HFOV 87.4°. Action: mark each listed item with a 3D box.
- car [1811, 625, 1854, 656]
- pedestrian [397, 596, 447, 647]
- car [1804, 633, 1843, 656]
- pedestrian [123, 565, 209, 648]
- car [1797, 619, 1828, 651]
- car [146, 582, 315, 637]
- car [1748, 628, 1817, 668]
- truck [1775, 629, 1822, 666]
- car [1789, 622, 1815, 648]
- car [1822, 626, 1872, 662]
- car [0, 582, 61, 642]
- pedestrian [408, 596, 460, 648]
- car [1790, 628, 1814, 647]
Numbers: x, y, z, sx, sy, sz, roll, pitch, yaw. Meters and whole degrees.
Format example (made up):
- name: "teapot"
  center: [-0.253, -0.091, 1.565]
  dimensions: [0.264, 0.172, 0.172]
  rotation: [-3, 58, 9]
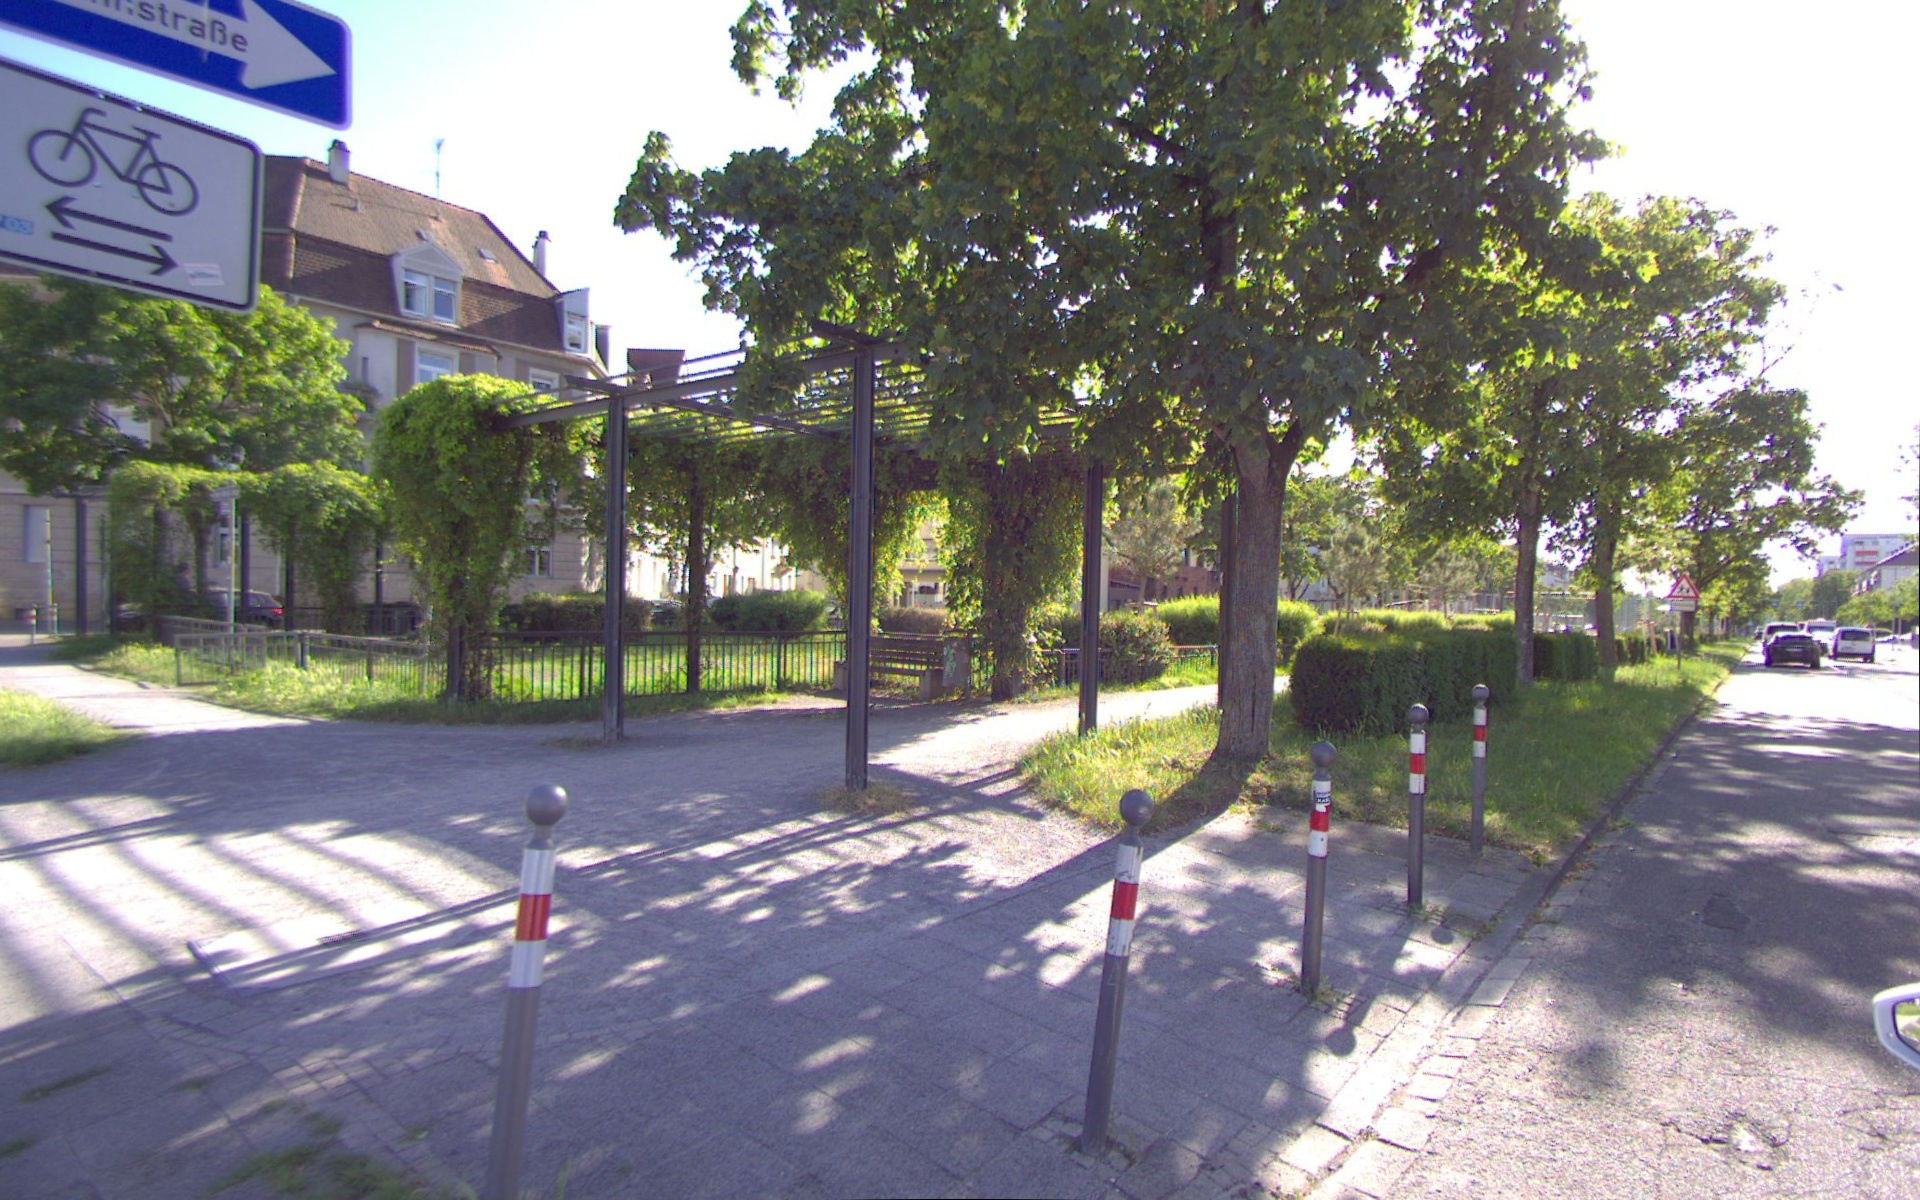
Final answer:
- name: "car"
  center: [55.350, 2.547, 63.781]
  dimensions: [1.795, 1.855, 3.983]
  rotation: [2, 0, 38]
- name: "pedestrian"
  center: [-12.528, 0.500, 23.397]
  dimensions: [0.590, 1.165, 0.842]
  rotation: [1, 0, 39]
- name: "car"
  center: [58.851, 2.987, 68.493]
  dimensions: [1.795, 1.418, 3.983]
  rotation: [2, 0, 38]
- name: "pedestrian"
  center: [-16.944, 0.114, 21.453]
  dimensions: [0.896, 1.697, 1.090]
  rotation: [1, 3, 20]
- name: "car"
  center: [71.521, 2.910, 84.320]
  dimensions: [1.795, 2.551, 3.983]
  rotation: [2, 0, 38]
- name: "car"
  center: [-22.857, 0.321, 31.578]
  dimensions: [1.837, 1.503, 3.892]
  rotation: [5, 2, 35]
- name: "car"
  center: [35.298, 2.009, 43.231]
  dimensions: [1.967, 1.545, 4.739]
  rotation: [2, 0, 36]
- name: "truck"
  center: [49.935, 2.802, 59.887]
  dimensions: [1.969, 2.063, 4.854]
  rotation: [1, -1, 38]
- name: "car"
  center: [81.749, 3.371, 97.535]
  dimensions: [1.795, 2.385, 3.983]
  rotation: [2, 0, 38]
- name: "car"
  center: [49.102, 2.392, 55.673]
  dimensions: [1.795, 1.855, 3.983]
  rotation: [2, 0, 38]
- name: "car"
  center: [-26.682, 0.289, 26.562]
  dimensions: [1.837, 1.503, 4.002]
  rotation: [5, 2, 35]
- name: "pedestrian"
  center: [-12.021, 0.510, 22.957]
  dimensions: [0.590, 1.154, 0.871]
  rotation: [1, 0, 39]
- name: "car"
  center: [89.604, 3.959, 106.906]
  dimensions: [1.795, 1.859, 3.983]
  rotation: [2, 0, 38]
